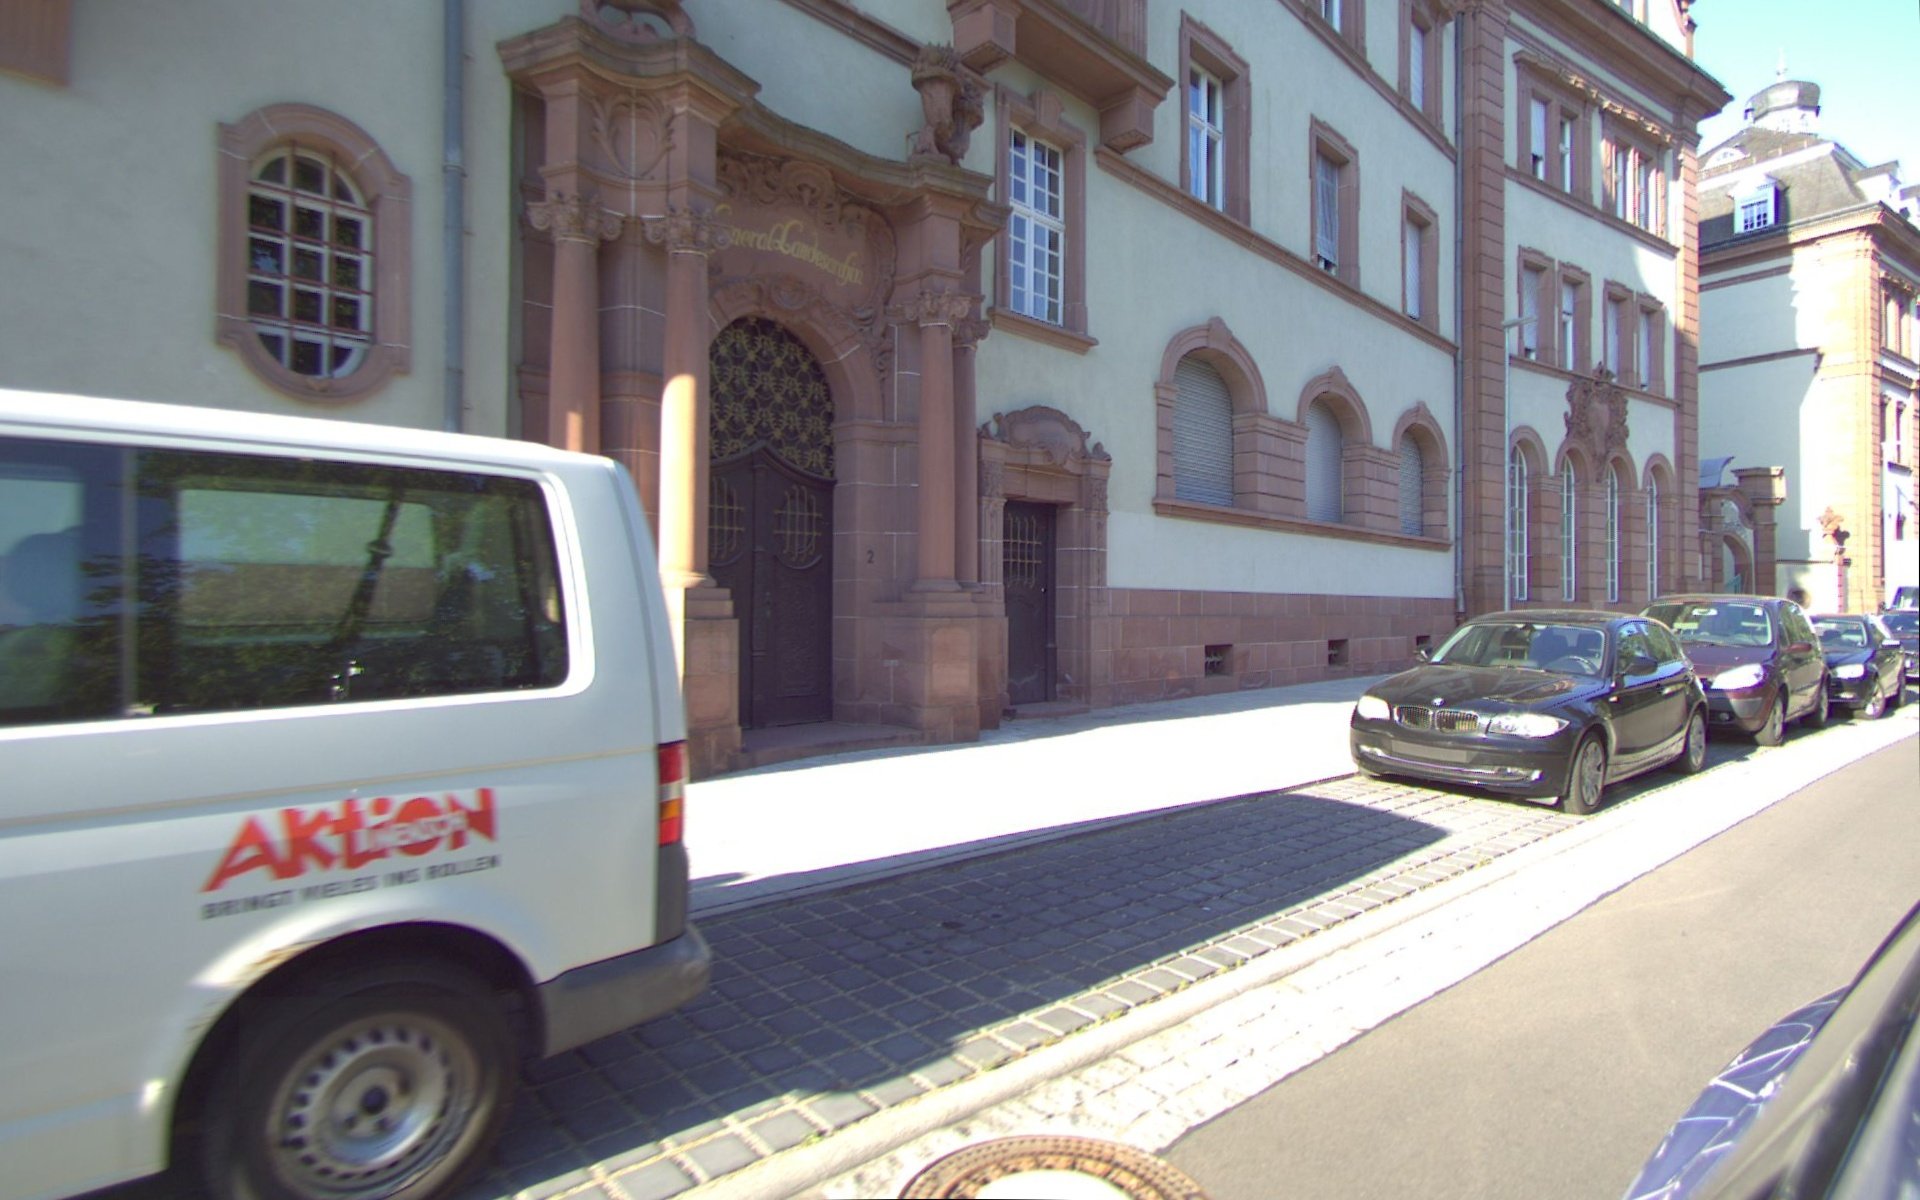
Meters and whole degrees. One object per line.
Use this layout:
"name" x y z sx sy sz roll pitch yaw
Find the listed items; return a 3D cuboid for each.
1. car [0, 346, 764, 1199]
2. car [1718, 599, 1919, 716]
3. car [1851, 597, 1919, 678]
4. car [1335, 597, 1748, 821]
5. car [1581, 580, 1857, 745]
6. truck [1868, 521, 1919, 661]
"car" -3.064 0.455 2.193 4.761 1.990 1.999 1 3 -39
"car" 13.174 0.750 15.228 4.442 1.454 1.875 0 1 -40
"car" 20.017 0.729 20.678 4.485 1.550 1.774 0 0 -36
"car" 5.063 0.724 8.583 4.124 1.420 1.683 0 1 -40
"car" 9.216 0.623 12.169 4.119 1.622 1.819 0 1 -41
"truck" 24.384 -0.162 24.381 5.975 3.159 2.631 1 2 -38
